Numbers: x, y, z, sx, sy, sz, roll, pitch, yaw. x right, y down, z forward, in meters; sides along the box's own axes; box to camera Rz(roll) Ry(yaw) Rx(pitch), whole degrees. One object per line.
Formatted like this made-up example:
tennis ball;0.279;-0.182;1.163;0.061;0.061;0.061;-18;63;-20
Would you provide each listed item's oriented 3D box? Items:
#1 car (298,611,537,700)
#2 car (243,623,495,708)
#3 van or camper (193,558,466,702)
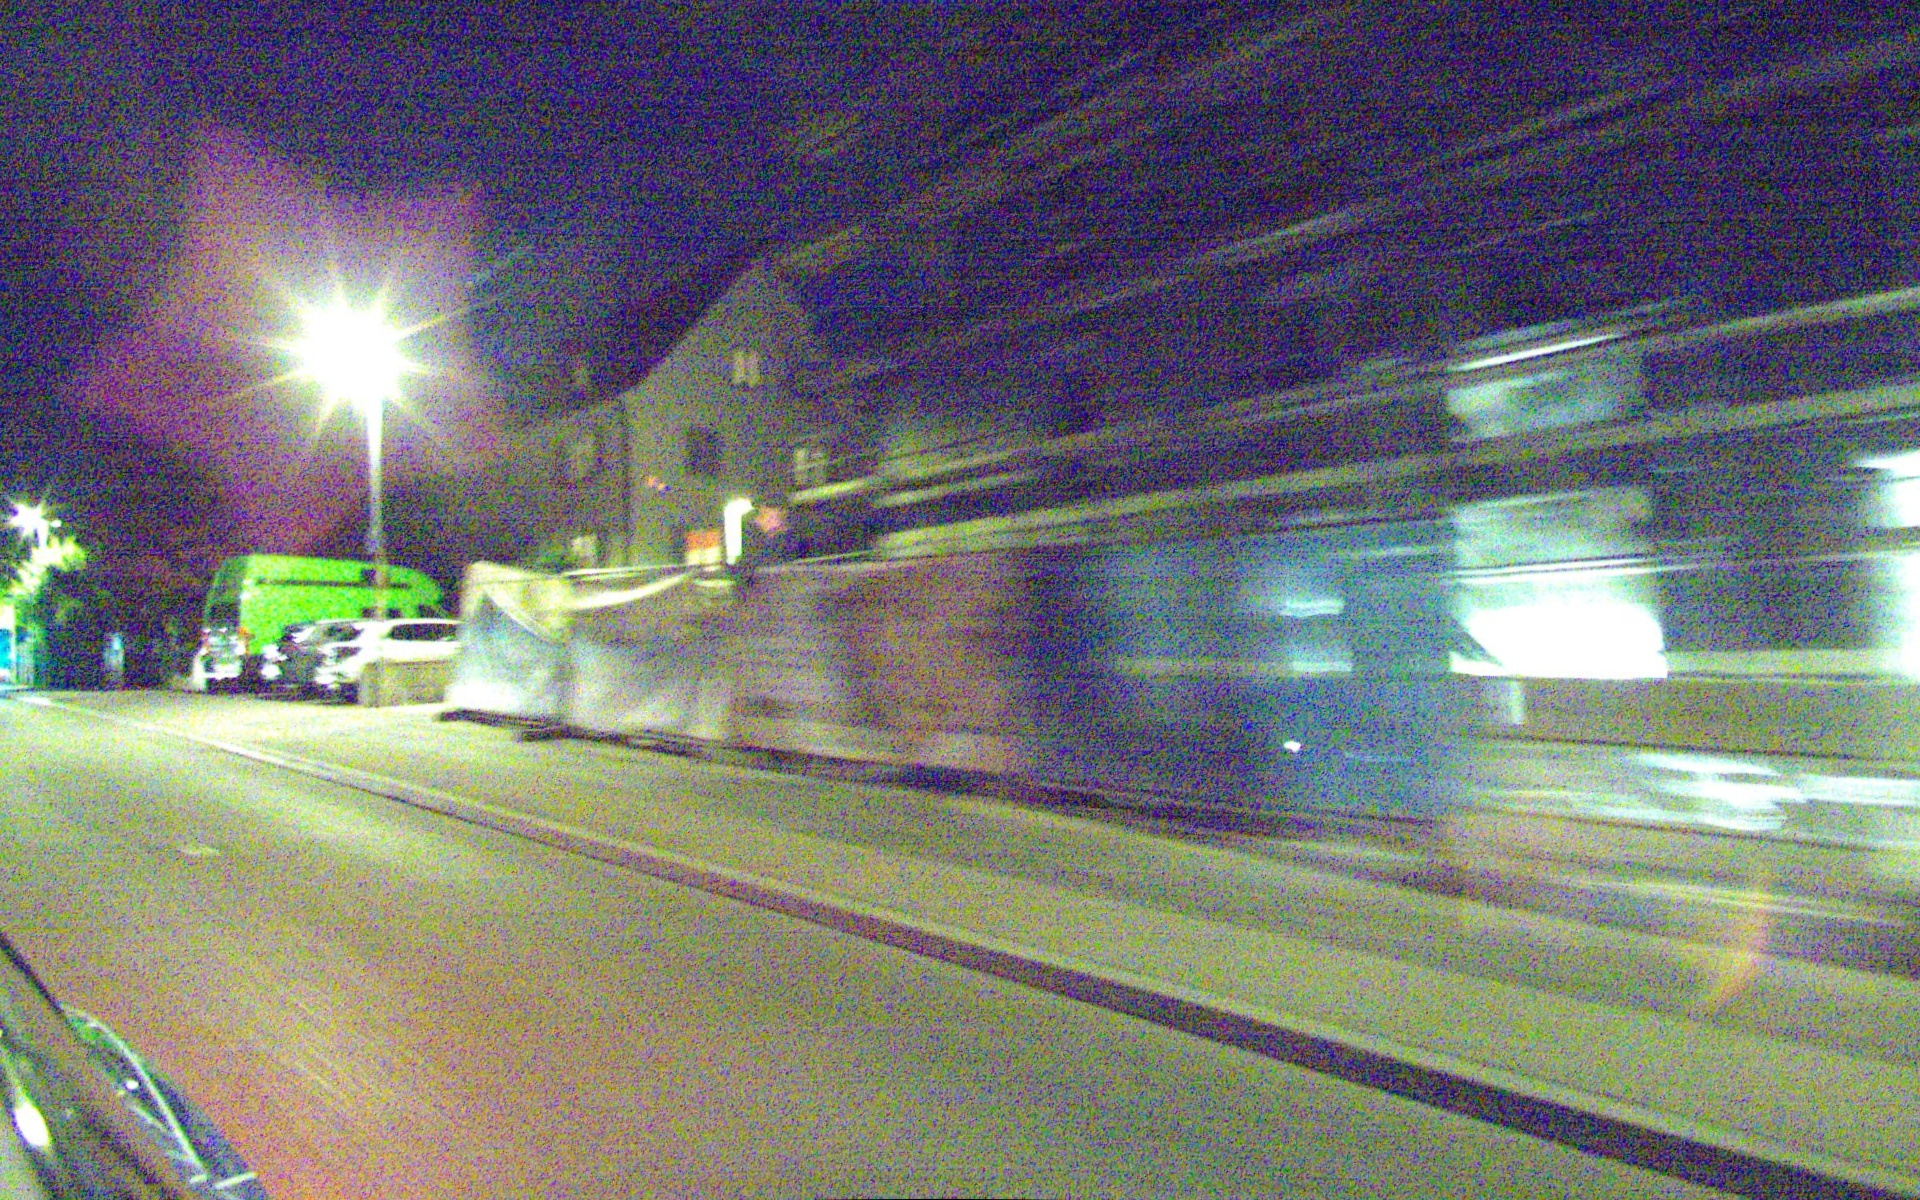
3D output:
car;-10.748;1.065;20.220;1.926;1.567;3.772;-4;-3;41
car;-12.812;1.341;22.143;2.065;1.625;4.369;-2;-2;42
van or camper;-15.329;0.718;24.996;2.125;3.134;5.358;-2;-2;31
